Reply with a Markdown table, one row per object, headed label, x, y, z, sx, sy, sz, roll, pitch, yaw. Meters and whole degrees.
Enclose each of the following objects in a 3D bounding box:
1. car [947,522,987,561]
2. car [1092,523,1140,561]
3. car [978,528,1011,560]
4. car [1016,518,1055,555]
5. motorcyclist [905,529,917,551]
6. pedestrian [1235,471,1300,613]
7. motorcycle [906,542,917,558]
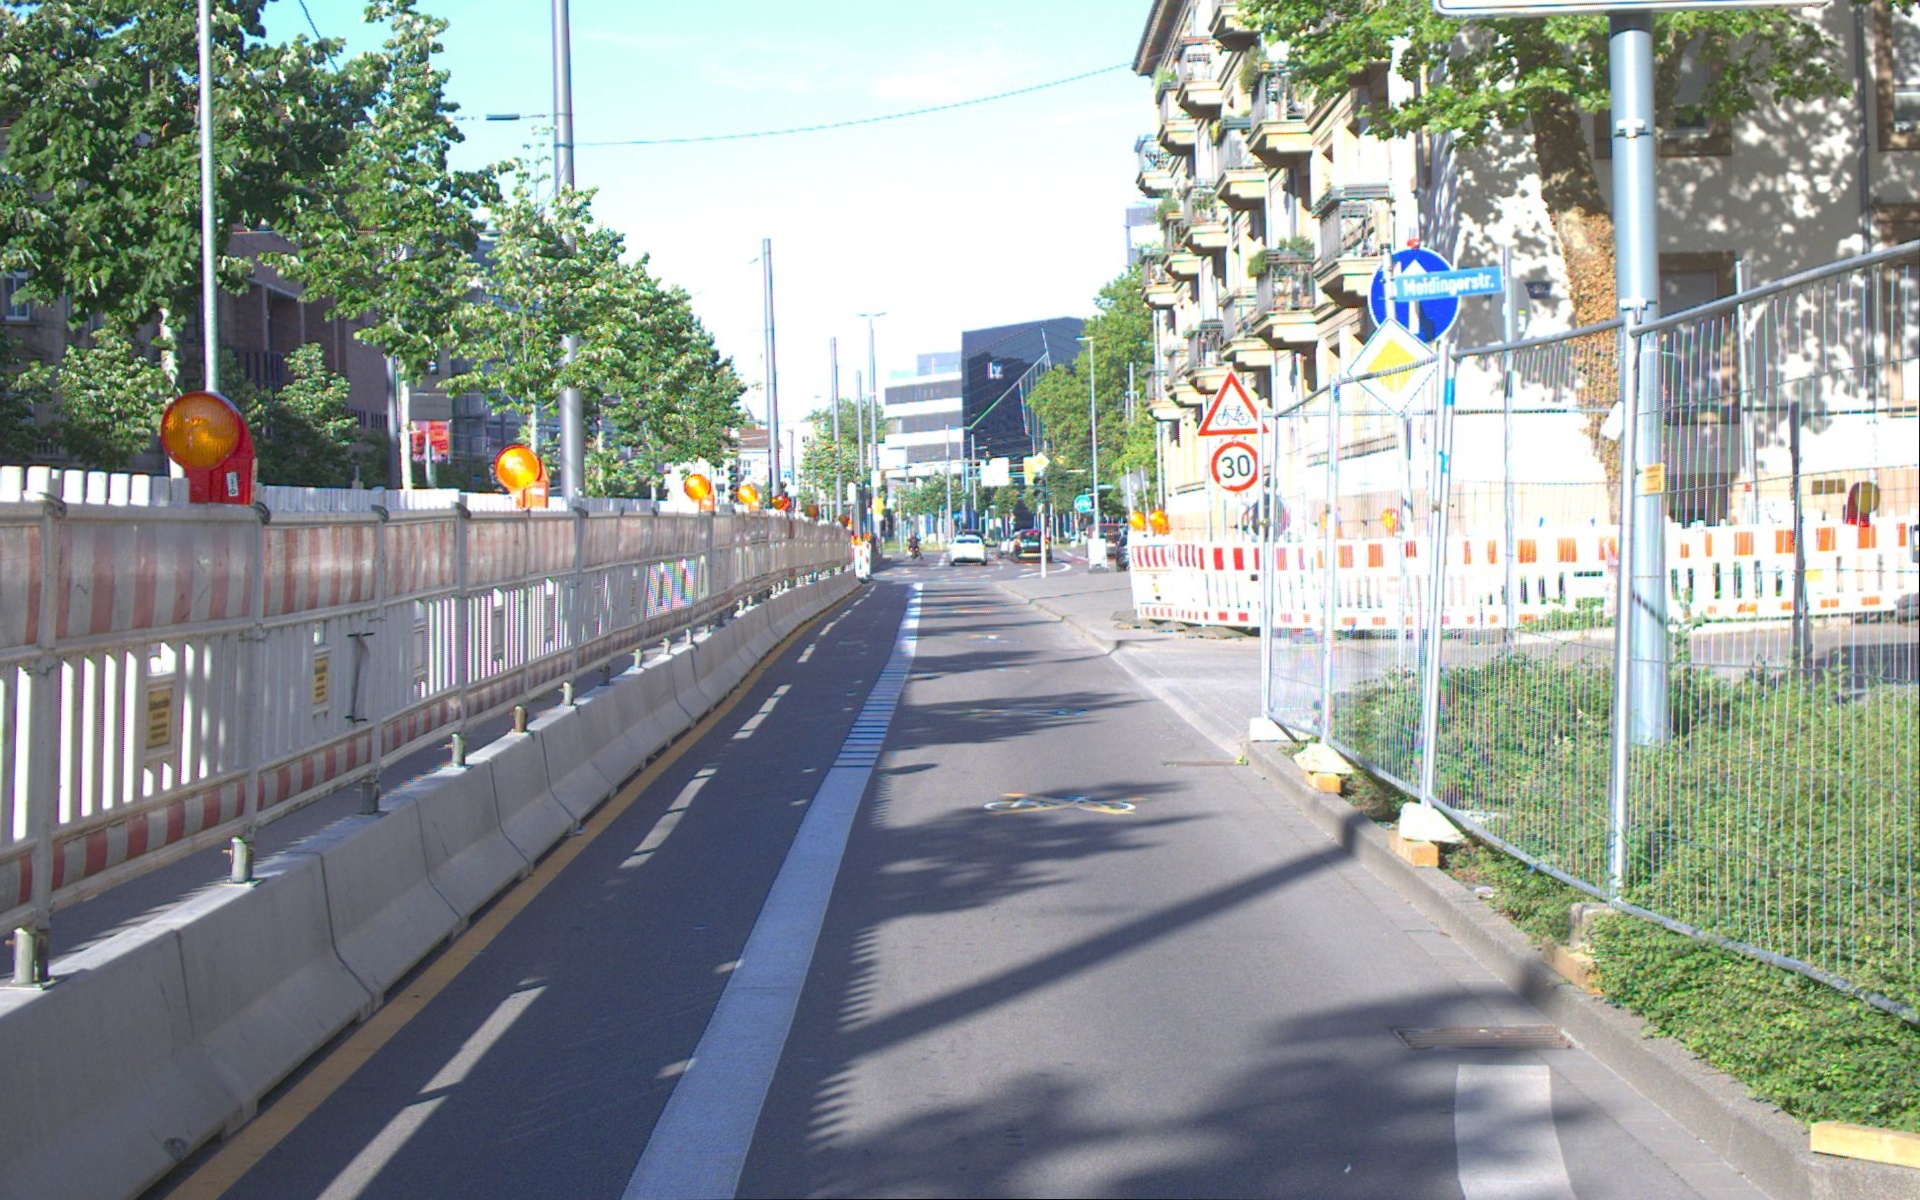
| label | x | y | z | sx | sy | sz | roll | pitch | yaw |
| --- | --- | --- | --- | --- | --- | --- | --- | --- | --- |
| car | 0.342 | -2.905 | 170.158 | 1.883 | 1.836 | 3.668 | -2 | 1 | 0 |
| car | 6.784 | -2.521 | 149.724 | 1.883 | 1.584 | 3.668 | -2 | 1 | 1 |
| car | 2.031 | -3.332 | 203.657 | 1.883 | 1.836 | 3.668 | -2 | 1 | 0 |
| car | 3.908 | -3.317 | 178.352 | 1.883 | 1.836 | 3.668 | -2 | 1 | 0 |
| motorcyclist | -2.816 | -3.443 | 198.584 | 0.631 | 1.258 | 0.606 | -2 | 1 | 0 |
| pedestrian | 3.837 | -0.729 | 42.976 | 0.669 | 1.740 | 0.778 | -2 | 1 | -2 |
| motorcycle | -2.799 | -2.910 | 198.521 | 0.631 | 0.893 | 1.621 | -2 | 1 | 0 |
